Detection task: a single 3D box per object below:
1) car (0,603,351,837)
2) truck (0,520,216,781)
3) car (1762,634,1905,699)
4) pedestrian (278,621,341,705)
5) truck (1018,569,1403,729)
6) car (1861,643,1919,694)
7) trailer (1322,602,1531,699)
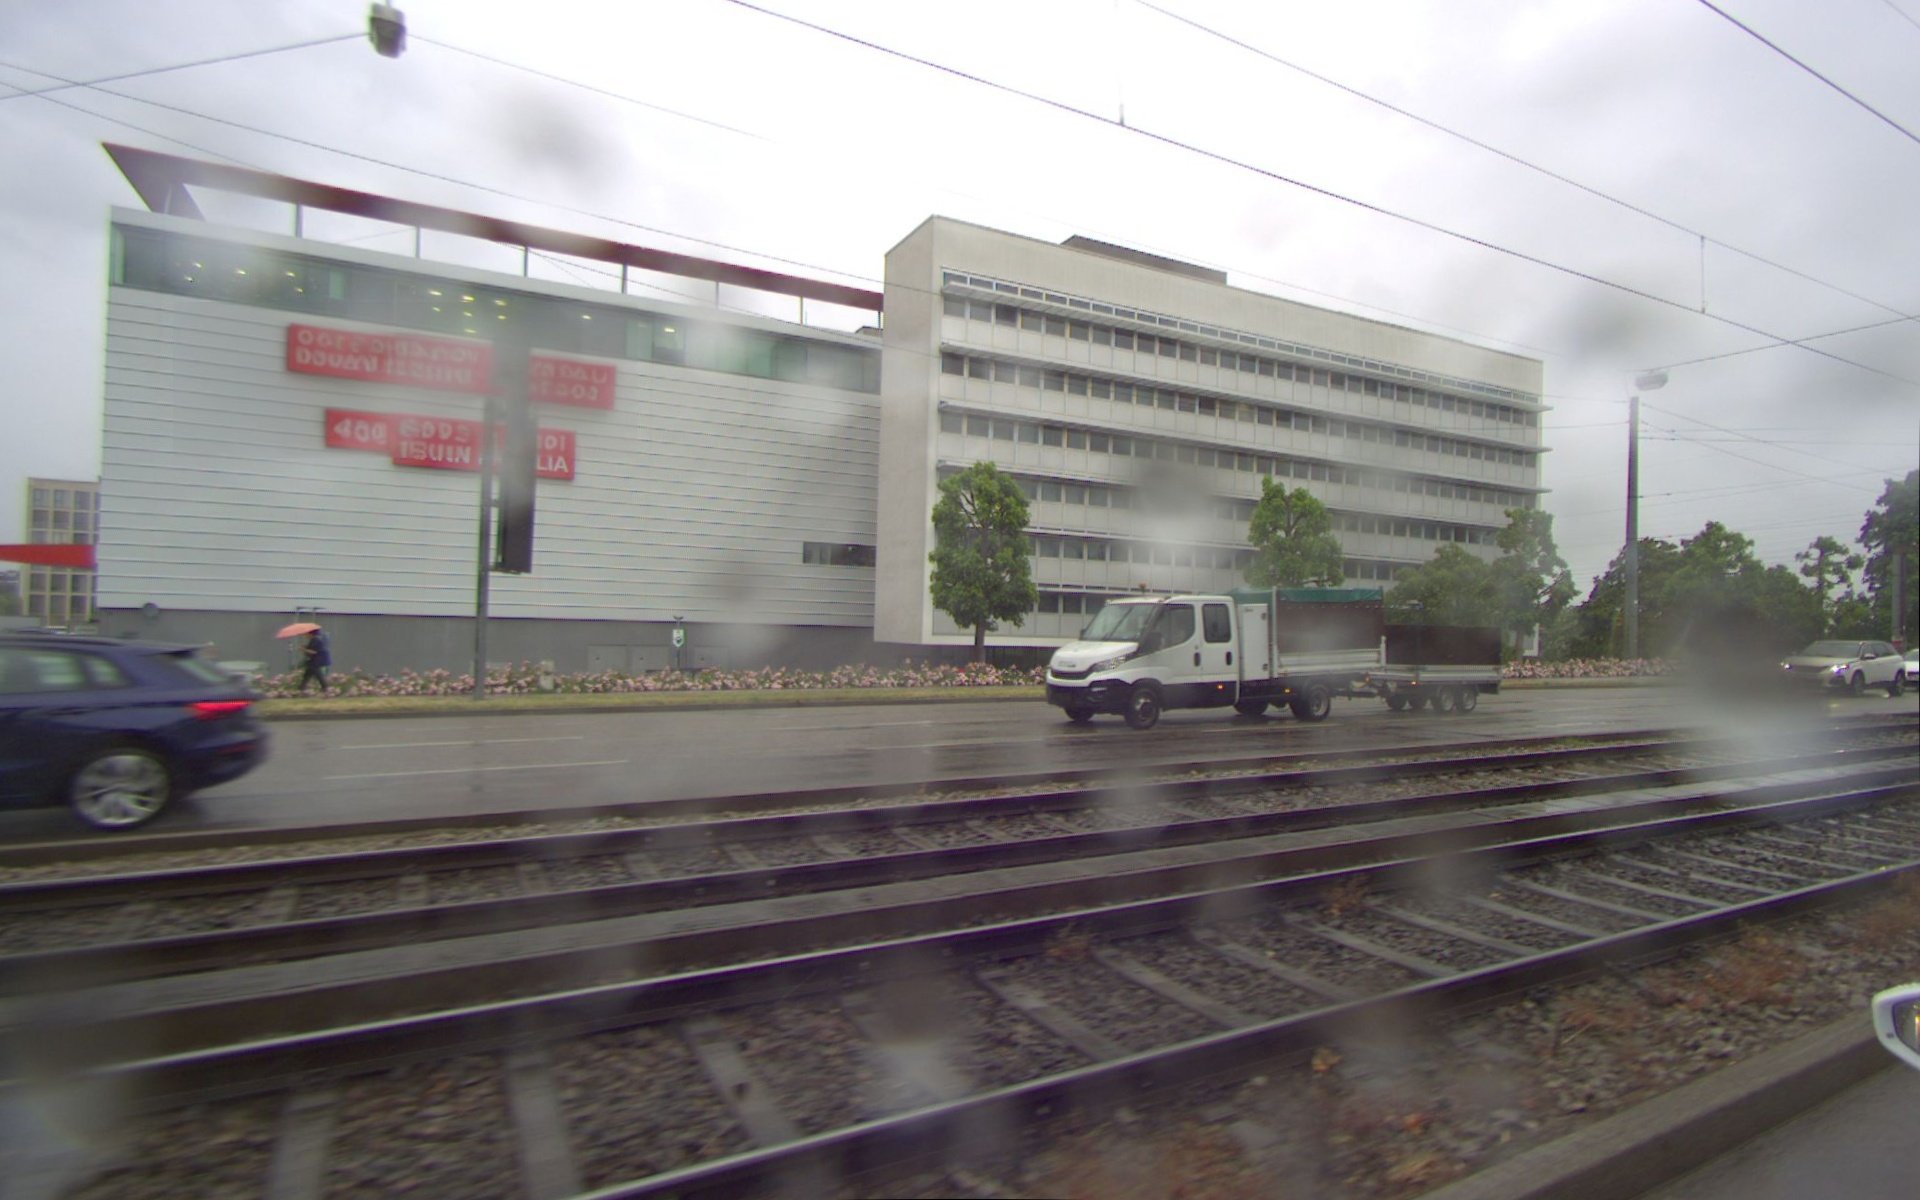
[{"bbox_3d":[-7.399,0.848,7.755,4.481,1.644,1.810,2,-1,-29],"label":"car"},{"bbox_3d":[-11.176,0.481,9.755,5.992,2.493,2.218,2,-3,-29],"label":"truck"},{"bbox_3d":[26.011,1.940,29.876,4.634,1.705,1.763,2,1,-30],"label":"car"},{"bbox_3d":[-14.438,1.390,22.312,1.036,1.786,0.819,2,1,-27],"label":"pedestrian"},{"bbox_3d":[4.738,0.903,18.500,7.129,2.490,2.426,2,-3,-28],"label":"truck"},{"bbox_3d":[32.621,2.265,33.705,4.705,1.604,1.987,1,-2,-27],"label":"car"},{"bbox_3d":[9.784,1.022,21.079,3.789,1.817,2.110,2,1,-29],"label":"trailer"}]
